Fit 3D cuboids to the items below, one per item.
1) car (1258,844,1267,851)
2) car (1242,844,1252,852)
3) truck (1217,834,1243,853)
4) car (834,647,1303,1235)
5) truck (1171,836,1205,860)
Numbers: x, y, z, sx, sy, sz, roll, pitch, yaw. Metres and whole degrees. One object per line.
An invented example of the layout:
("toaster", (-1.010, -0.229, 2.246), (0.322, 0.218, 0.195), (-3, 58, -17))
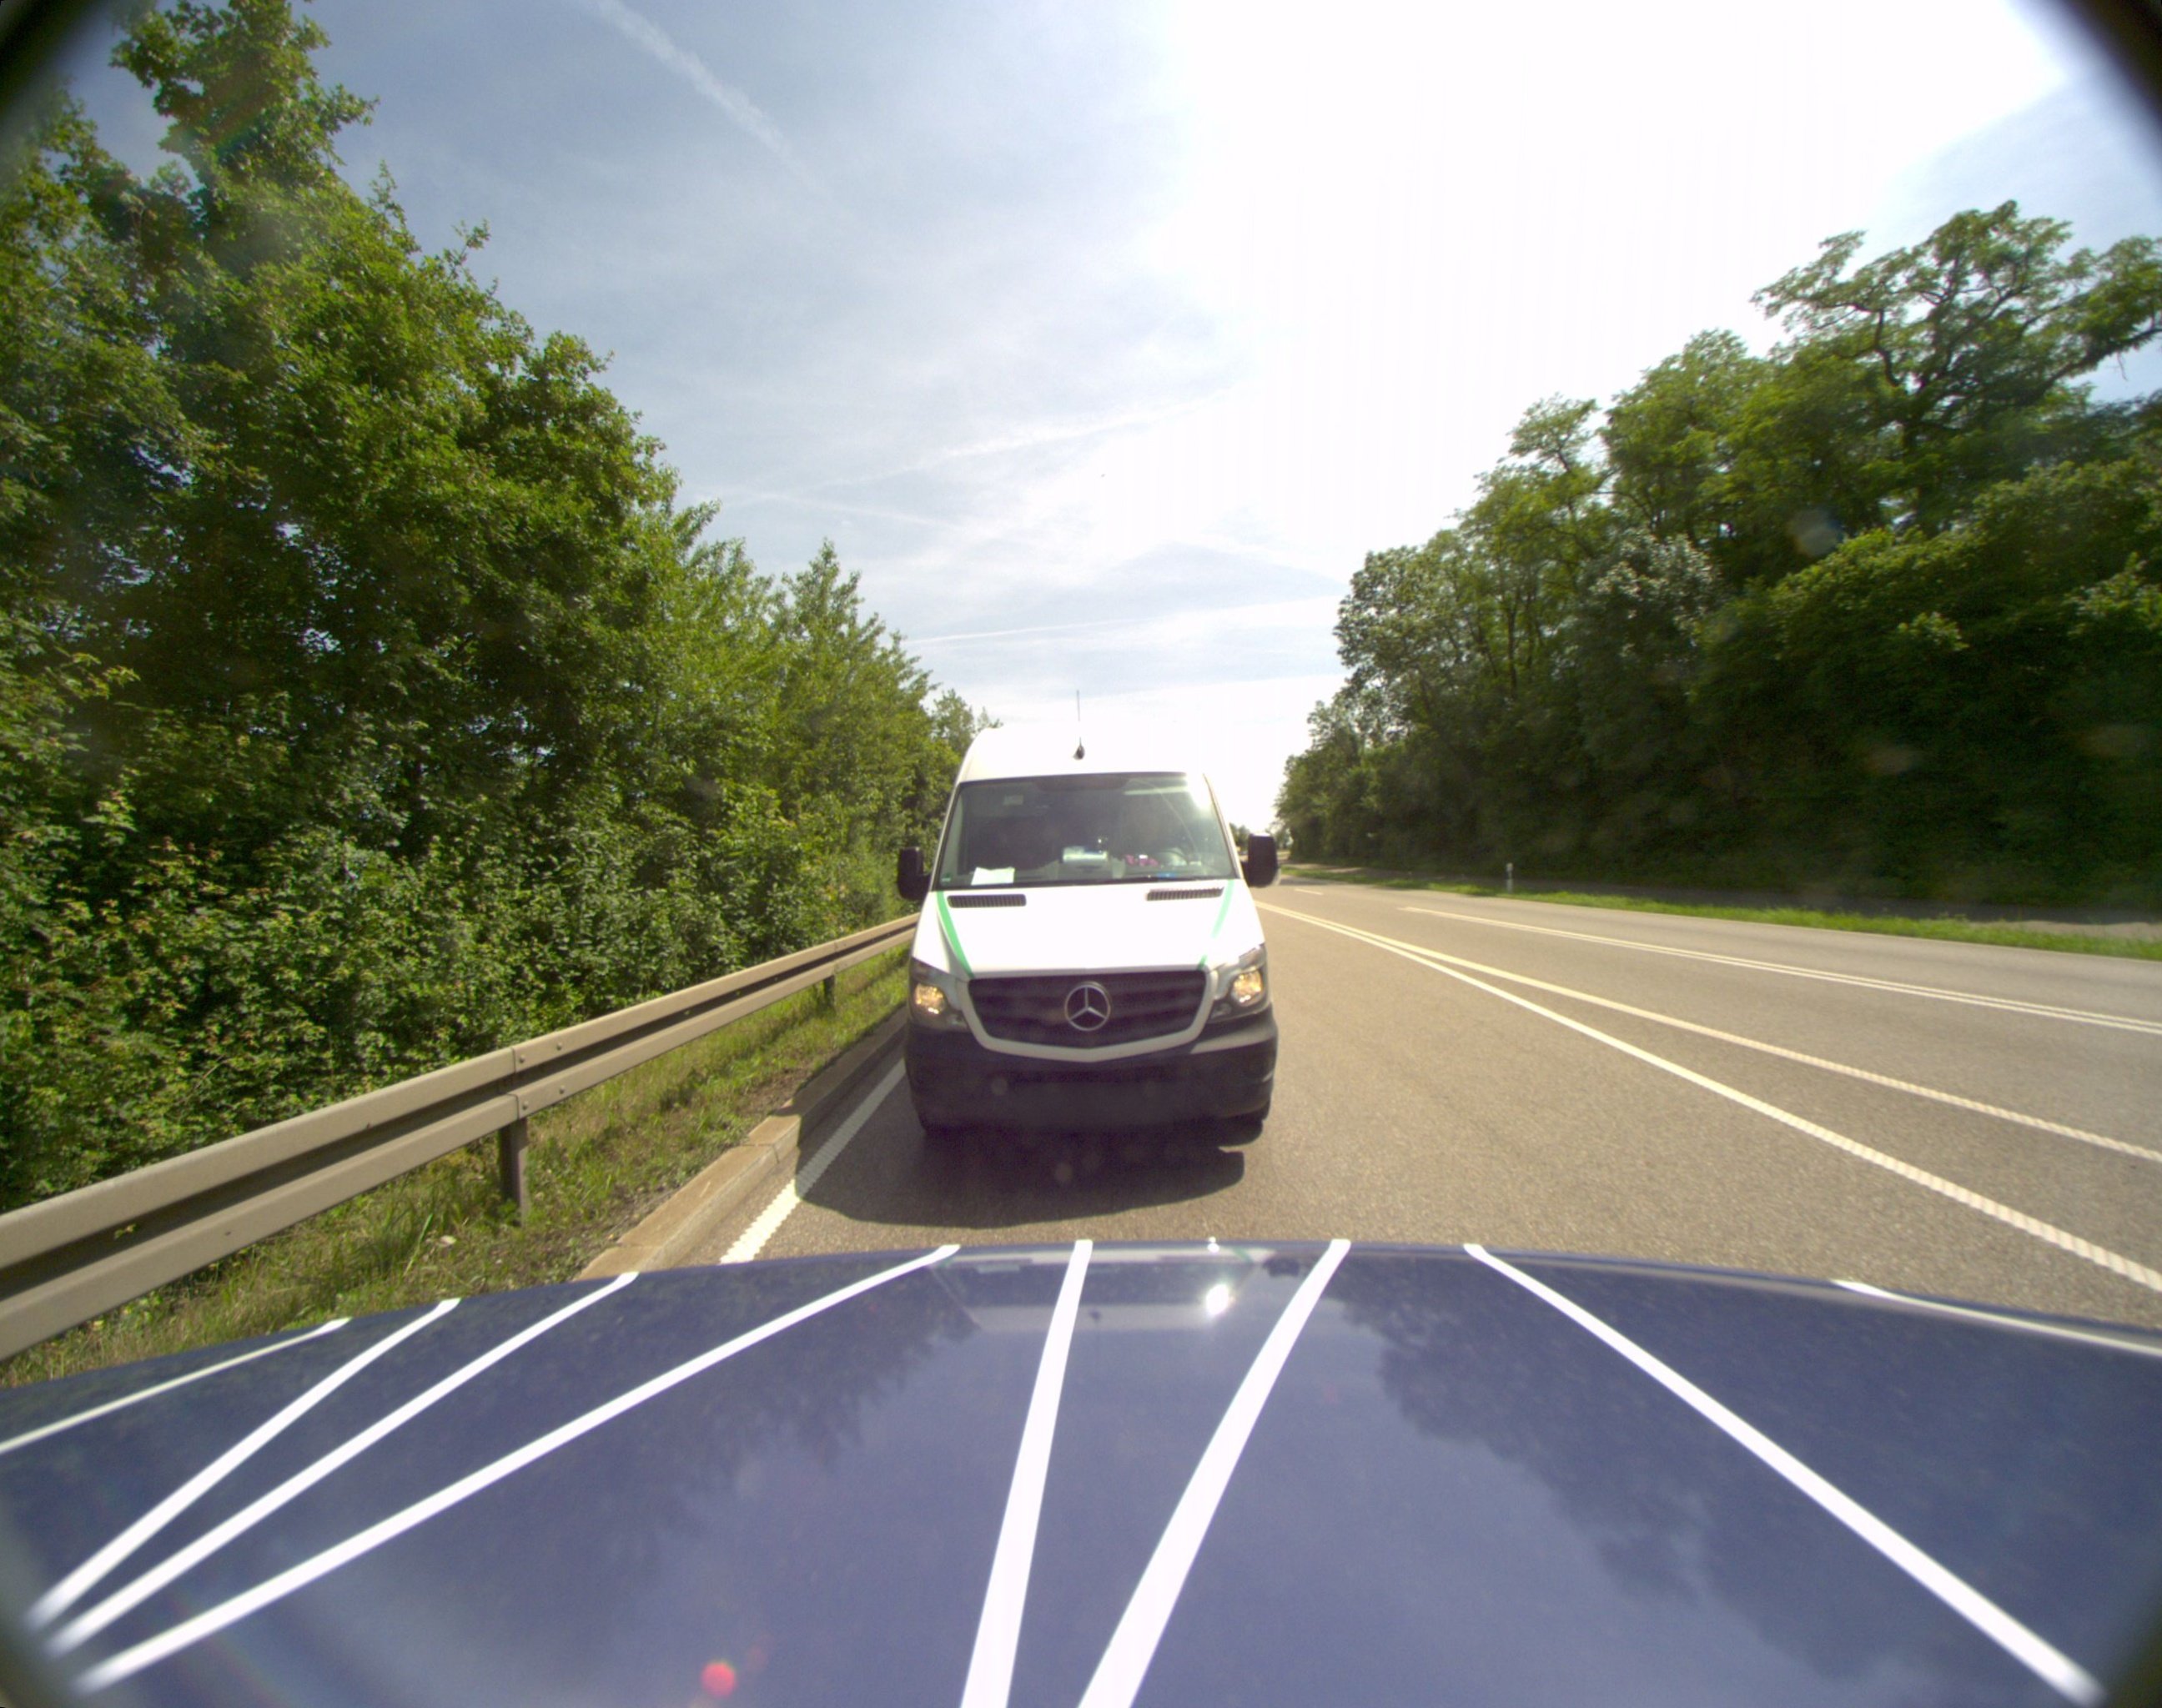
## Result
("car", (55.365, -2.015, 231.477), (1.853, 2.002, 3.894), (-1, 1, 27))
("car", (47.090, -1.643, 215.770), (1.915, 2.002, 4.182), (-1, 1, 24))
("truck", (38.705, -2.728, 196.216), (3.980, 4.433, 14.361), (-2, 0, 21))
("car", (0.028, 0.394, 5.926), (1.958, 2.502, 5.267), (-2, 0, 2))
("truck", (21.583, -1.281, 152.271), (4.392, 4.433, 14.730), (-2, 0, 17))
